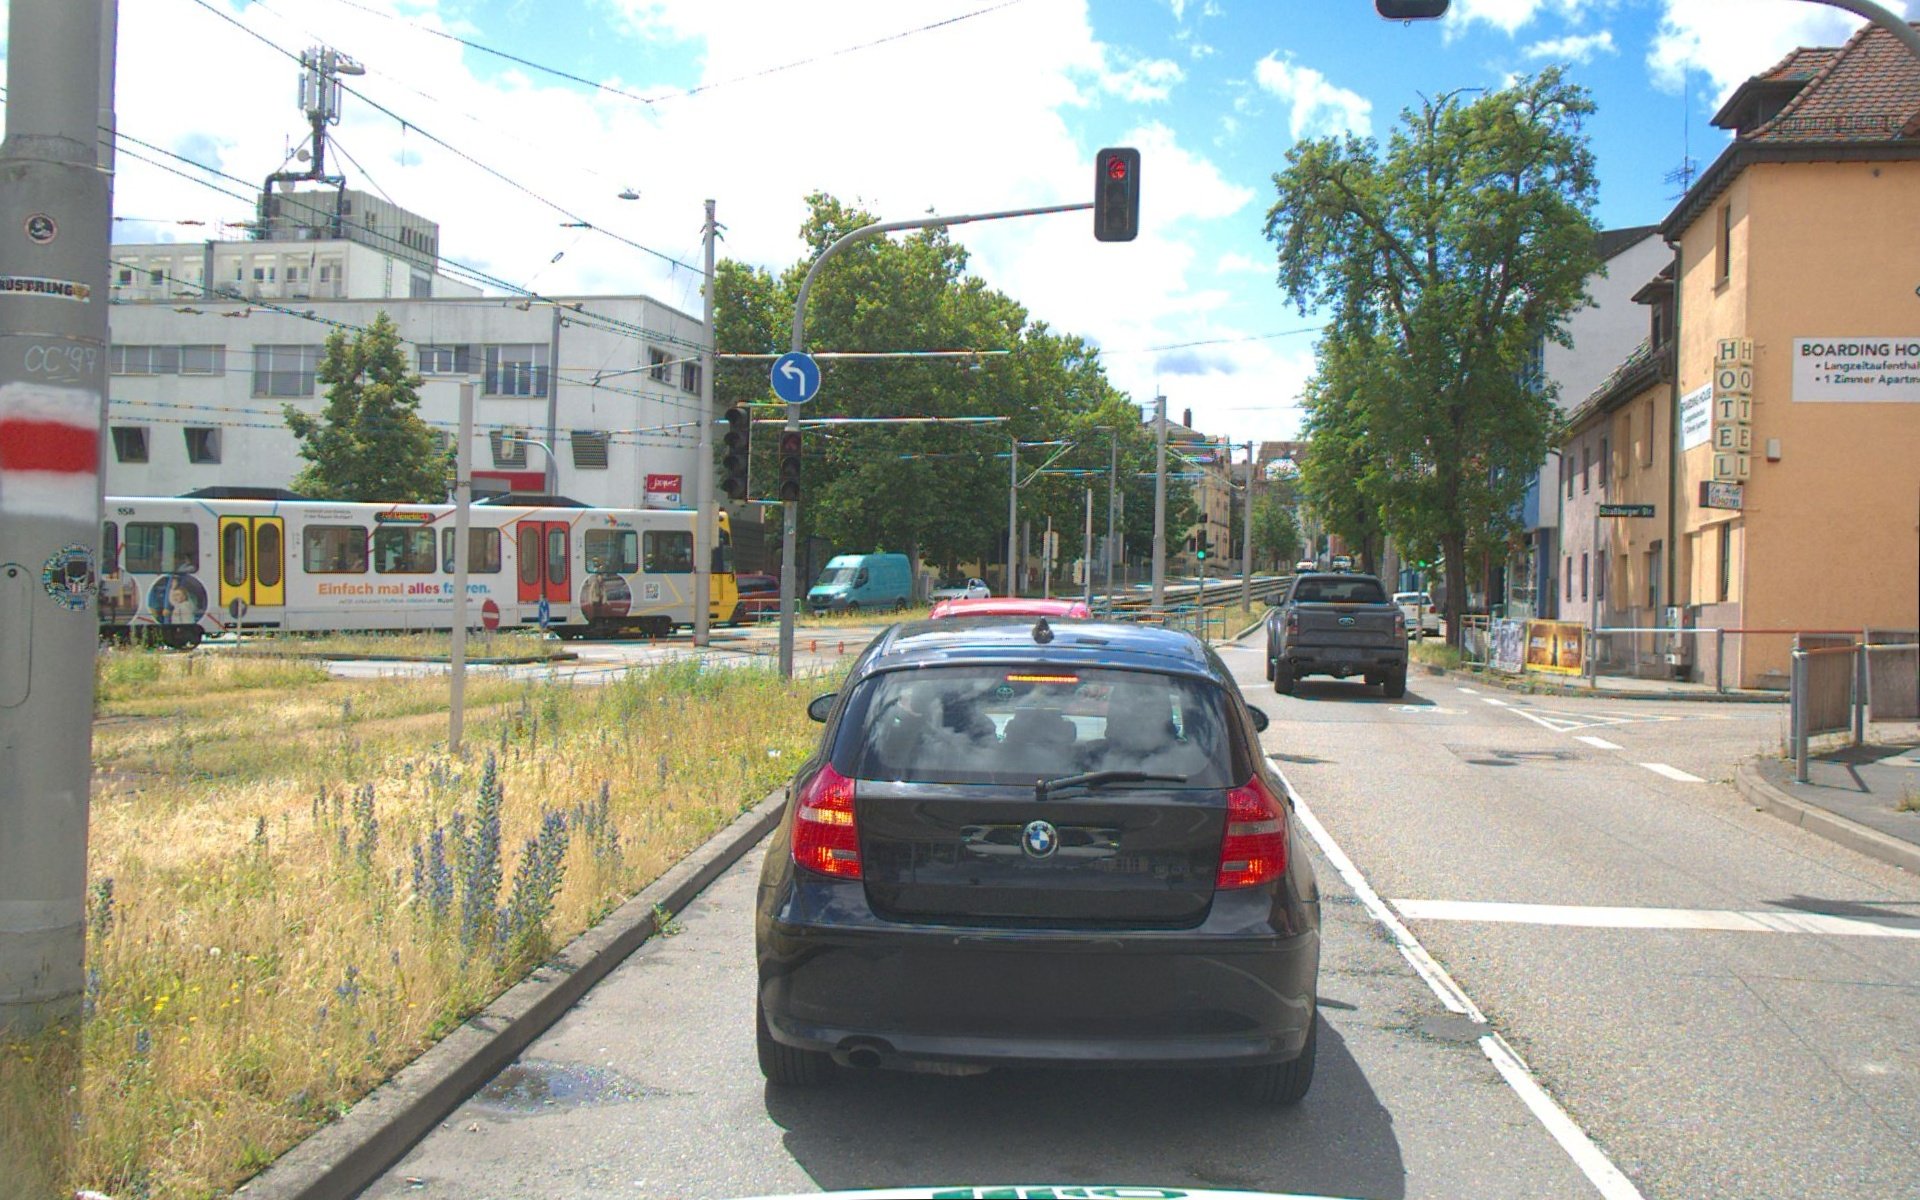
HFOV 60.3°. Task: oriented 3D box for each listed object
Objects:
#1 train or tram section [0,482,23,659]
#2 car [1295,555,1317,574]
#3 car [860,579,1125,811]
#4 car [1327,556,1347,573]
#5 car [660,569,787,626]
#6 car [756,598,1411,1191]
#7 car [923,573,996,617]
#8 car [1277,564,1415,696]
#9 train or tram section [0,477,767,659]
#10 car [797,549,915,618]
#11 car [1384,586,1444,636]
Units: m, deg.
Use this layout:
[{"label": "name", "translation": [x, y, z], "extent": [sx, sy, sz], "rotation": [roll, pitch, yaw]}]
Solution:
[{"label": "train or tram section", "translation": [-31.078, -0.644, 33.922], "extent": [20.237, 3.947, 3.744], "rotation": [0, -1, -17]}, {"label": "car", "translation": [39.419, -4.053, 188.398], "extent": [1.952, 2.049, 4.000], "rotation": [-1, -1, 21]}, {"label": "car", "translation": [0.398, 0.641, 12.803], "extent": [1.590, 1.499, 4.003], "rotation": [0, -1, 8]}, {"label": "car", "translation": [47.422, -4.473, 207.825], "extent": [1.952, 2.049, 4.000], "rotation": [-1, -1, 21]}, {"label": "car", "translation": [-8.706, -0.066, 61.336], "extent": [1.822, 2.044, 4.777], "rotation": [-1, -1, 37]}, {"label": "car", "translation": [0.220, 0.760, 6.199], "extent": [1.667, 1.477, 3.997], "rotation": [0, -1, -3]}, {"label": "car", "translation": [0.010, -0.204, 77.578], "extent": [1.814, 1.962, 4.798], "rotation": [-1, -1, 21]}, {"label": "car", "translation": [6.173, 0.470, 26.756], "extent": [1.956, 1.920, 5.154], "rotation": [0, -1, 12]}, {"label": "train or tram section", "translation": [-14.430, -0.649, 42.106], "extent": [19.835, 3.881, 3.712], "rotation": [0, -1, -37]}, {"label": "car", "translation": [-4.239, -0.636, 68.483], "extent": [2.091, 2.701, 5.679], "rotation": [-1, -1, 30]}, {"label": "car", "translation": [15.364, 0.370, 56.140], "extent": [1.749, 1.624, 4.003], "rotation": [0, -1, 12]}]
